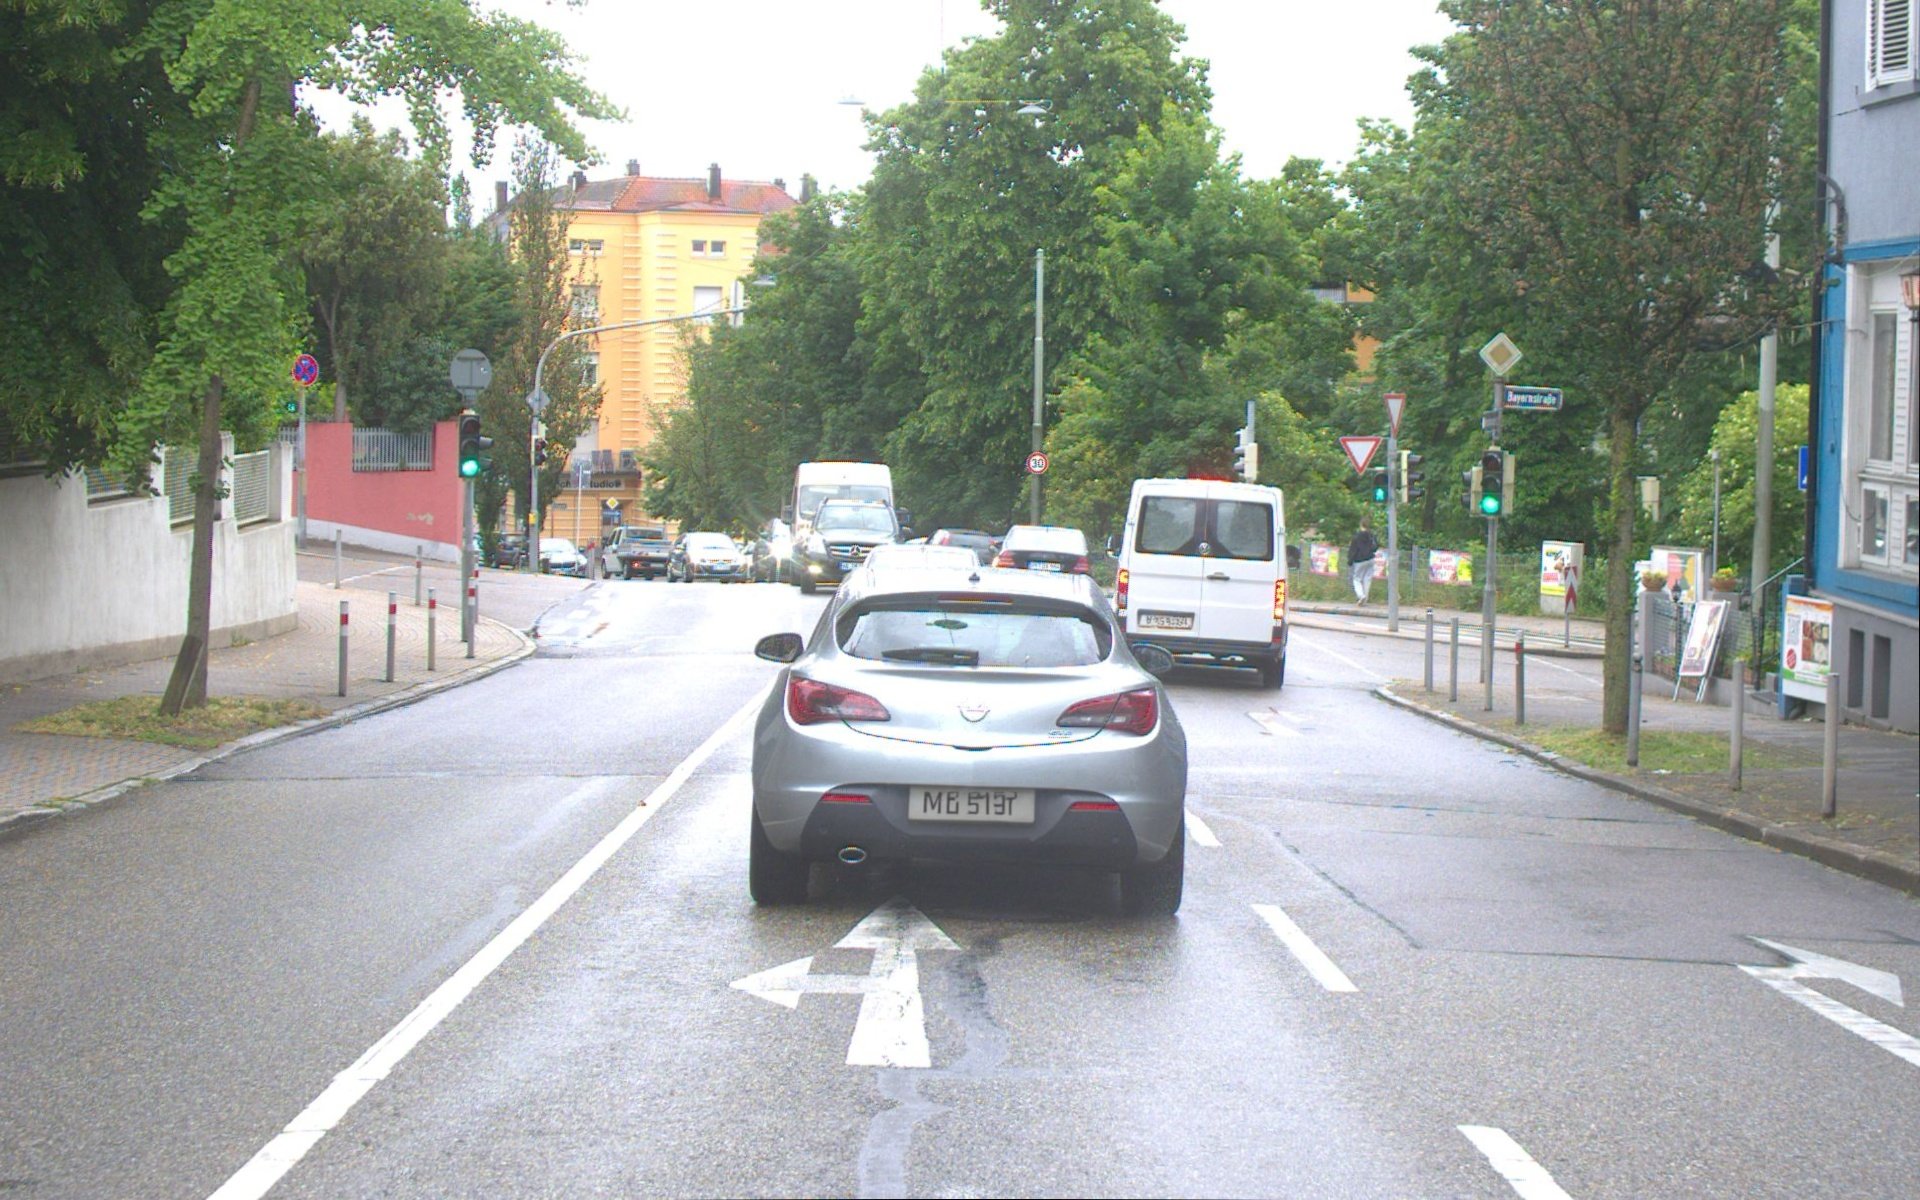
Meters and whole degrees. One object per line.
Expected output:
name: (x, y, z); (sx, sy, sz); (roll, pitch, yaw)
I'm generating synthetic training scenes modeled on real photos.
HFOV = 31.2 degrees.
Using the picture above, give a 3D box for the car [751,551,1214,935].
car: (0.079, 0.548, 15.813); (1.815, 1.425, 4.000); (2, 2, 0)

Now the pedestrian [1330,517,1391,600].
pedestrian: (7.877, -0.811, 67.602); (0.765, 1.600, 0.966); (-2, 1, -26)

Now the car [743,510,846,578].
car: (-4.074, -1.360, 84.144); (1.874, 1.569, 4.587); (1, 1, -11)

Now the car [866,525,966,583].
car: (-1.313, -1.317, 100.138); (1.814, 1.490, 4.001); (-5, 1, -16)

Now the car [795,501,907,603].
car: (-1.959, -0.880, 60.607); (1.821, 1.646, 4.347); (2, 2, -3)

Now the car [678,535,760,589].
car: (-6.958, -1.100, 98.827); (1.773, 1.492, 4.264); (1, 0, -12)

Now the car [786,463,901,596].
car: (-2.394, -1.397, 69.050); (2.117, 2.537, 5.540); (1, 1, -4)

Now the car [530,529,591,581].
car: (-12.823, -1.473, 110.546); (1.852, 1.481, 5.369); (1, 2, -6)

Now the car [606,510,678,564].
car: (-11.488, -2.266, 123.974); (1.781, 1.848, 4.001); (2, 0, -16)

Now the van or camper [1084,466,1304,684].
van or camper: (2.693, -0.328, 40.903); (2.103, 2.318, 5.417); (3, 1, 0)

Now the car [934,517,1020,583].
car: (0.384, -1.157, 80.297); (1.620, 1.481, 3.436); (1, 0, -6)

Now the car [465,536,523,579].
car: (-19.486, -1.791, 143.585); (1.845, 1.578, 4.280); (6, 0, -13)

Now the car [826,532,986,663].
car: (-0.623, 0.005, 40.100); (1.776, 1.425, 3.785); (0, -1, -1)

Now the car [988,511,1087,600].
car: (1.248, -0.740, 56.467); (1.383, 1.407, 3.457); (0, 1, -2)
